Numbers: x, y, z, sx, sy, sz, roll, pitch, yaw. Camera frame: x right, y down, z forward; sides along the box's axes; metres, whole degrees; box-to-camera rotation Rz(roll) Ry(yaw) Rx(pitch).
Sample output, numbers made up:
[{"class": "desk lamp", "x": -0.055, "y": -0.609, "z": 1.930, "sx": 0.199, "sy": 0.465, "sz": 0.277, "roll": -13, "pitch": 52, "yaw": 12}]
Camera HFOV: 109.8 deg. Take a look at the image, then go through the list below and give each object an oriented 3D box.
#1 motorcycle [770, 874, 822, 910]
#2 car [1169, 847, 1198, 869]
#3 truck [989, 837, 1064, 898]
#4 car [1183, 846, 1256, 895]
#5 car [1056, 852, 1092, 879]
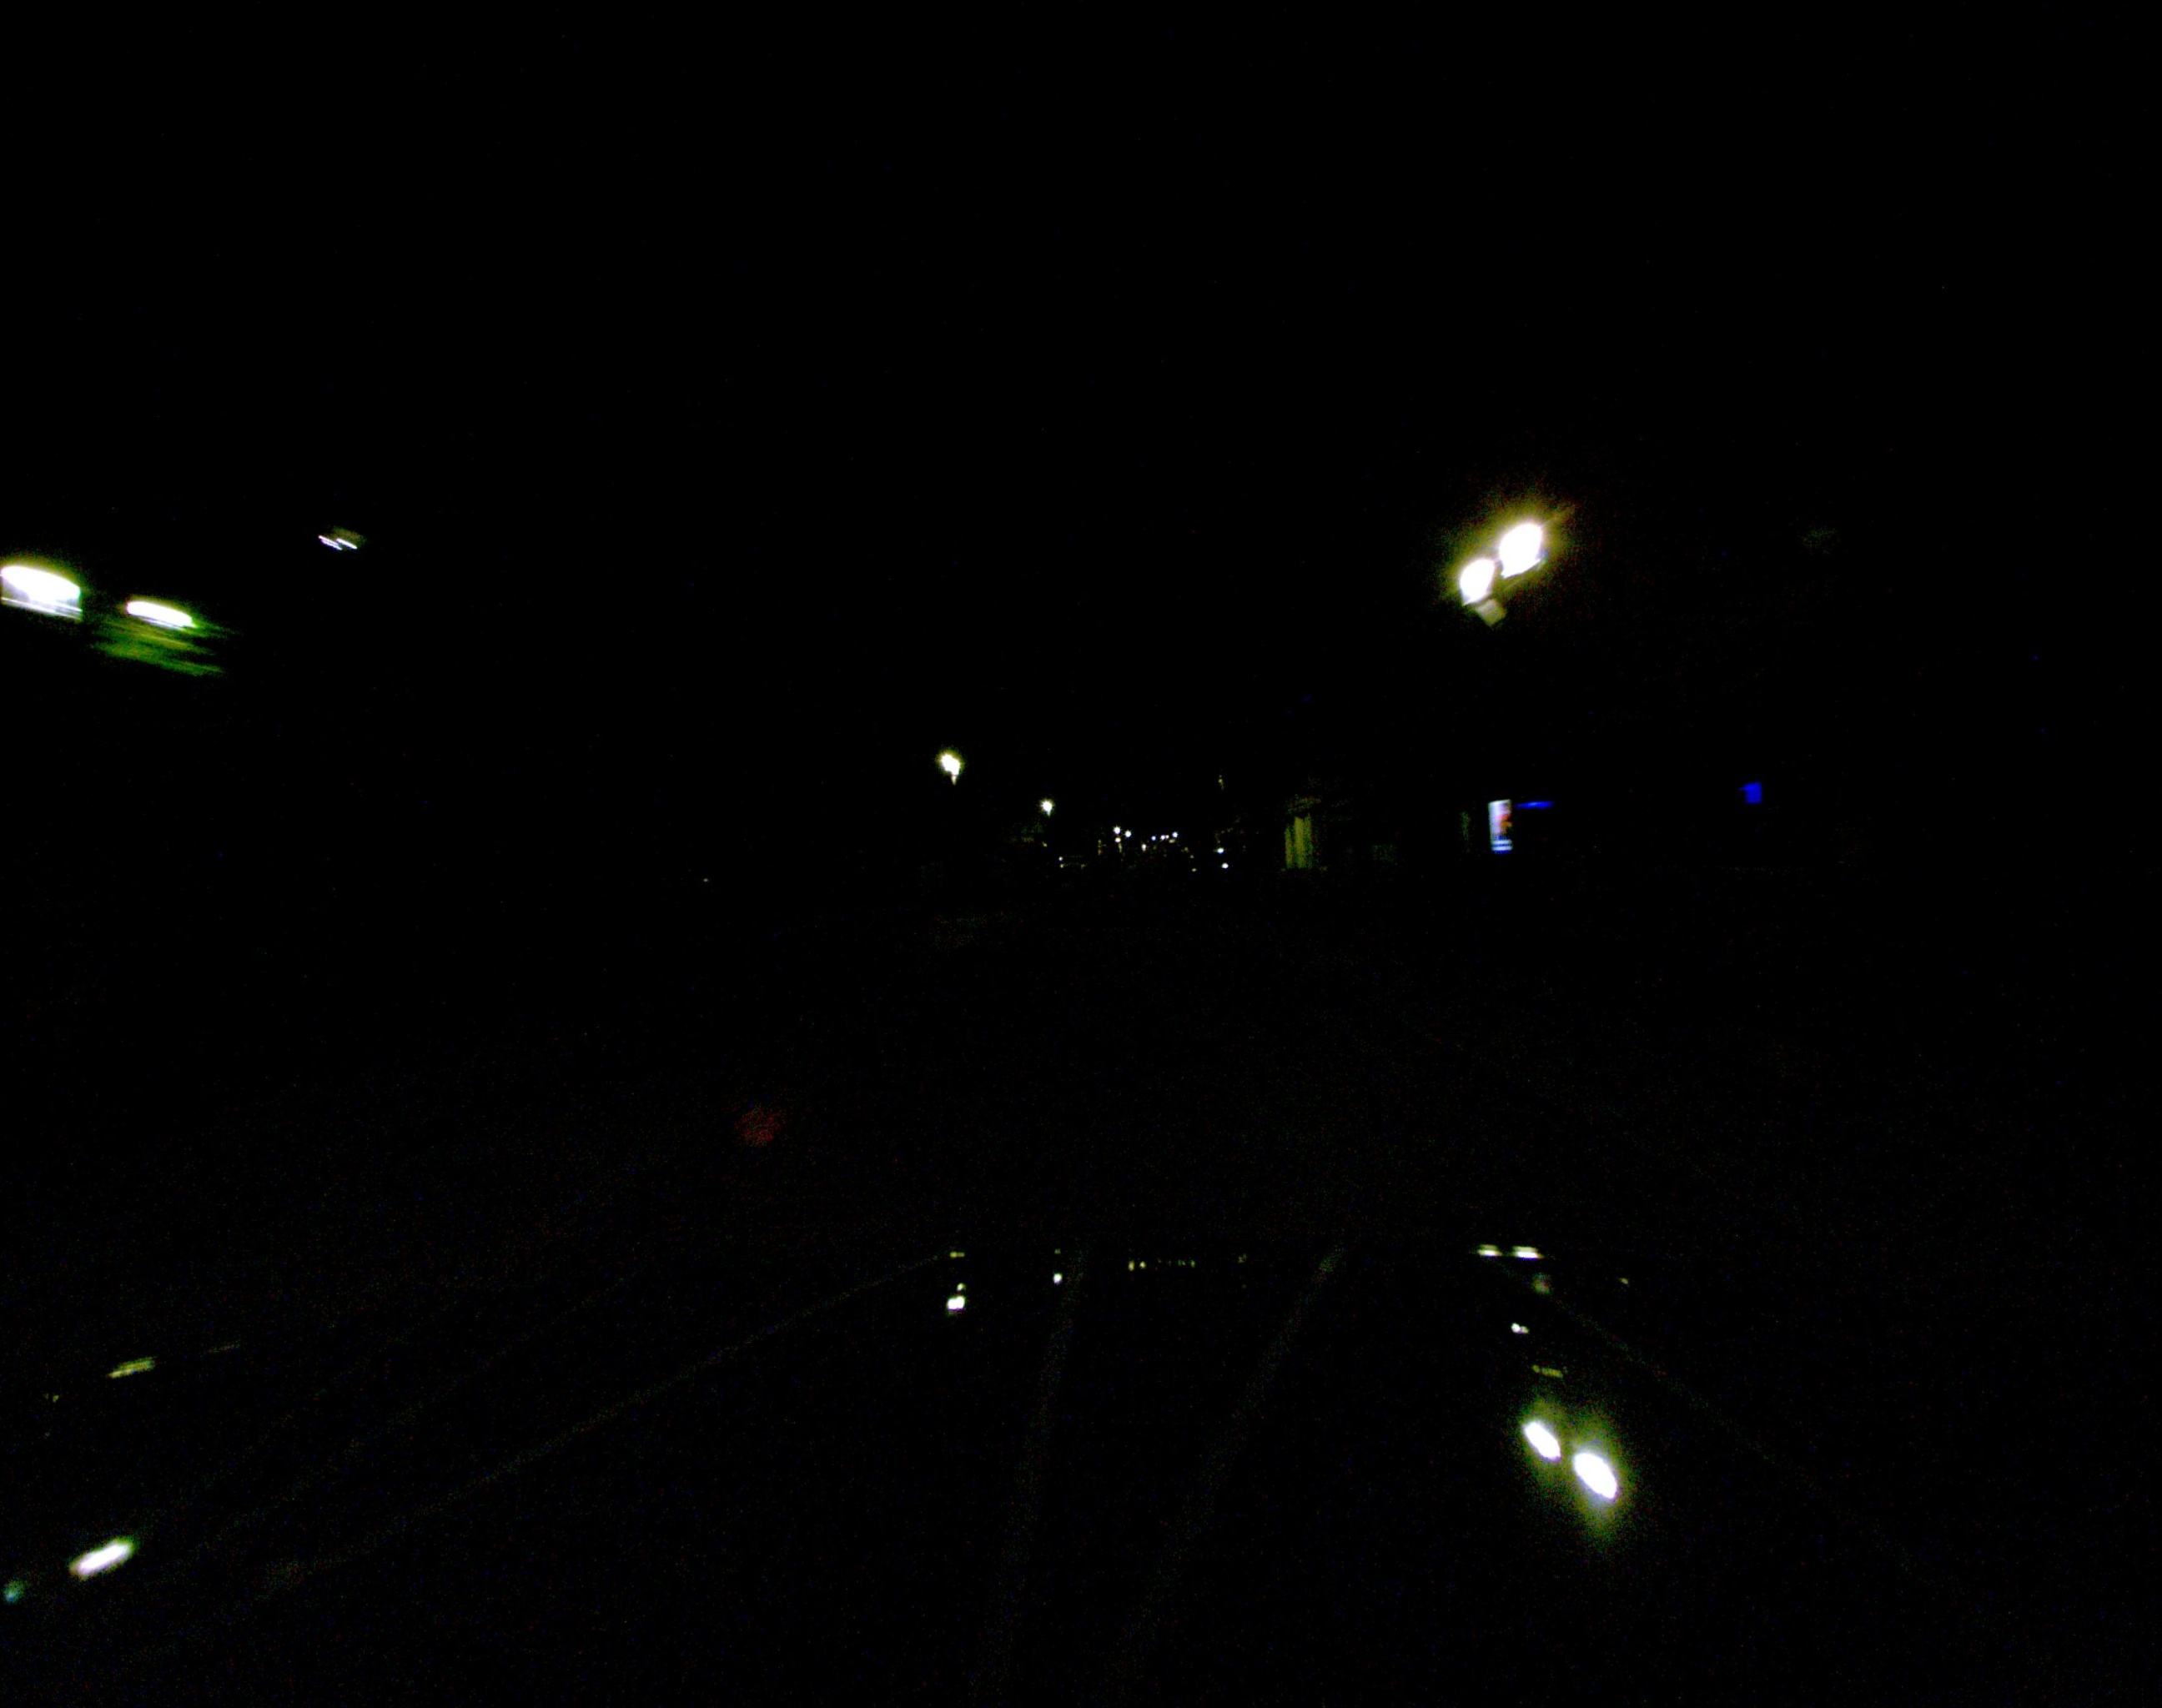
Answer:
[{"class": "motorcycle", "x": -10.769, "y": 1.431, "z": 28.765, "sx": 1.725, "sy": 1.244, "sz": 0.433, "roll": -3, "pitch": 1, "yaw": -7}, {"class": "car", "x": 7.274, "y": 0.275, "z": 54.434, "sx": 1.836, "sy": 1.458, "sz": 4.001, "roll": -3, "pitch": 0, "yaw": 5}, {"class": "truck", "x": -2.166, "y": 0.496, "z": 32.364, "sx": 2.109, "sy": 2.230, "sz": 6.289, "roll": -3, "pitch": 0, "yaw": 5}, {"class": "car", "x": 4.850, "y": 0.533, "z": 27.087, "sx": 1.795, "sy": 1.496, "sz": 4.000, "roll": -4, "pitch": 0, "yaw": 0}, {"class": "car", "x": -0.404, "y": 0.676, "z": 47.558, "sx": 1.737, "sy": 1.493, "sz": 4.001, "roll": -3, "pitch": 0, "yaw": 5}]
